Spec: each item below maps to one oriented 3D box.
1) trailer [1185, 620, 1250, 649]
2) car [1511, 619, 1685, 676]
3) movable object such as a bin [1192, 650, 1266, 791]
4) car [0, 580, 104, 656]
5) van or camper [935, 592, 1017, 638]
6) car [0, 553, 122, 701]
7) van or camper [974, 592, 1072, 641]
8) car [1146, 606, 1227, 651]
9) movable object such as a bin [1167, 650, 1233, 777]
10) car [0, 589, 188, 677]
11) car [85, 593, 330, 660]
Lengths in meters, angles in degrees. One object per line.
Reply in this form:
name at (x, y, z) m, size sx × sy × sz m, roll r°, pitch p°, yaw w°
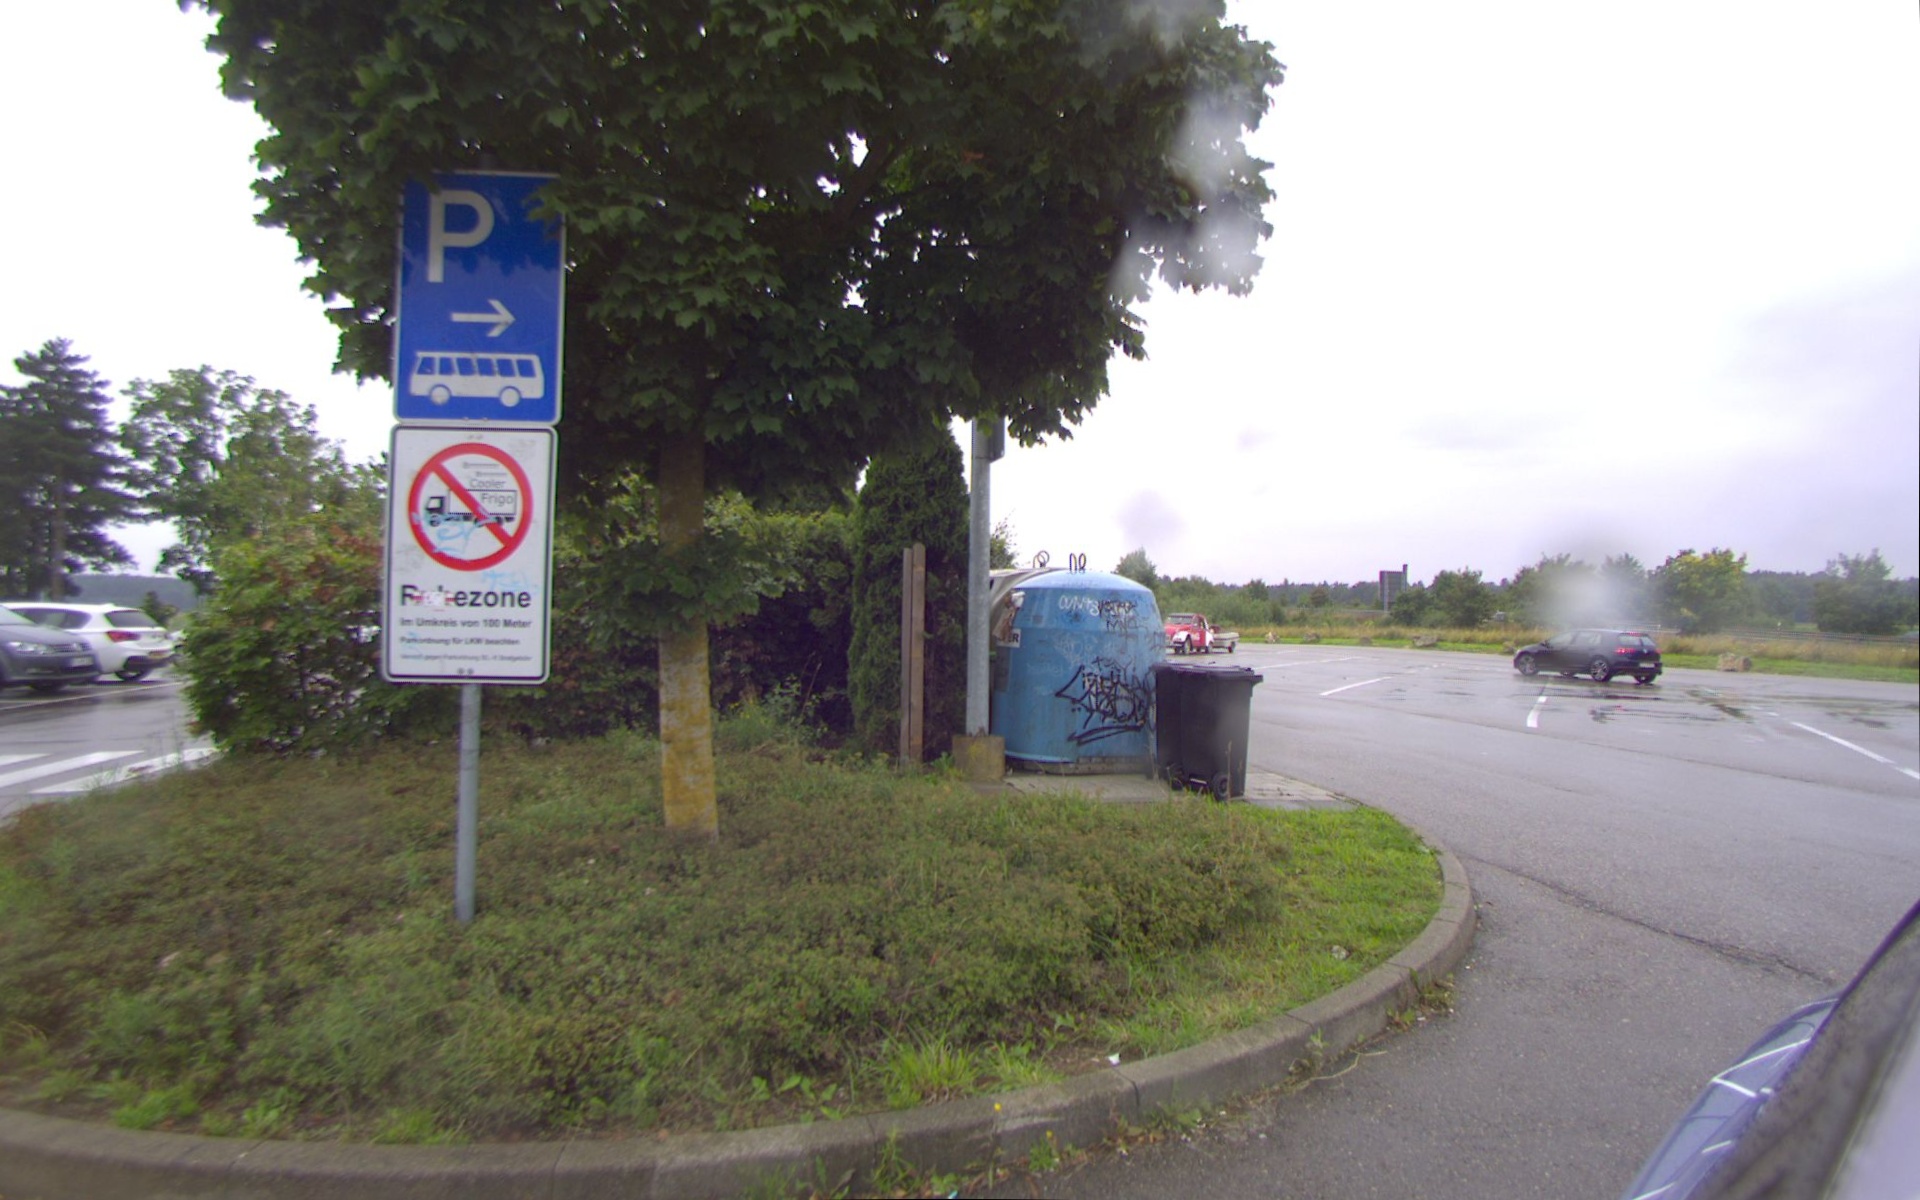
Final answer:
trailer at (10.366, 1.375, 40.688) m, size 1.579 × 1.081 × 2.991 m, roll 0°, pitch -2°, yaw 35°
car at (18.392, 1.339, 29.411) m, size 1.742 × 1.452 × 4.087 m, roll 2°, pitch -1°, yaw -19°
movable object such as a bin at (1.953, 0.859, 7.386) m, size 0.442 × 0.950 × 0.487 m, roll 1°, pitch -1°, yaw 8°
car at (-26.373, 0.488, 27.967) m, size 3.706 × 2.039 × 1.790 m, roll 1°, pitch -1°, yaw -16°
van or camper at (1.152, 1.012, 66.895) m, size 1.985 × 2.749 × 6.986 m, roll 3°, pitch 0°, yaw 32°
car at (-16.336, 0.358, 15.728) m, size 4.668 × 2.216 × 2.004 m, roll 1°, pitch 0°, yaw -12°
van or camper at (3.245, 0.834, 50.403) m, size 2.119 × 2.275 × 6.343 m, roll 1°, pitch -1°, yaw 32°
car at (8.482, 1.046, 37.680) m, size 1.540 × 1.575 × 4.004 m, roll 1°, pitch -1°, yaw 35°
movable object such as a bin at (1.875, 0.874, 7.937) m, size 0.442 × 0.929 × 0.487 m, roll 1°, pitch -1°, yaw 8°
car at (-17.103, 0.555, 18.248) m, size 4.668 × 1.491 × 1.889 m, roll 1°, pitch 0°, yaw -12°
car at (-19.365, 0.676, 26.274) m, size 4.668 × 1.607 × 2.004 m, roll 1°, pitch 0°, yaw -12°
